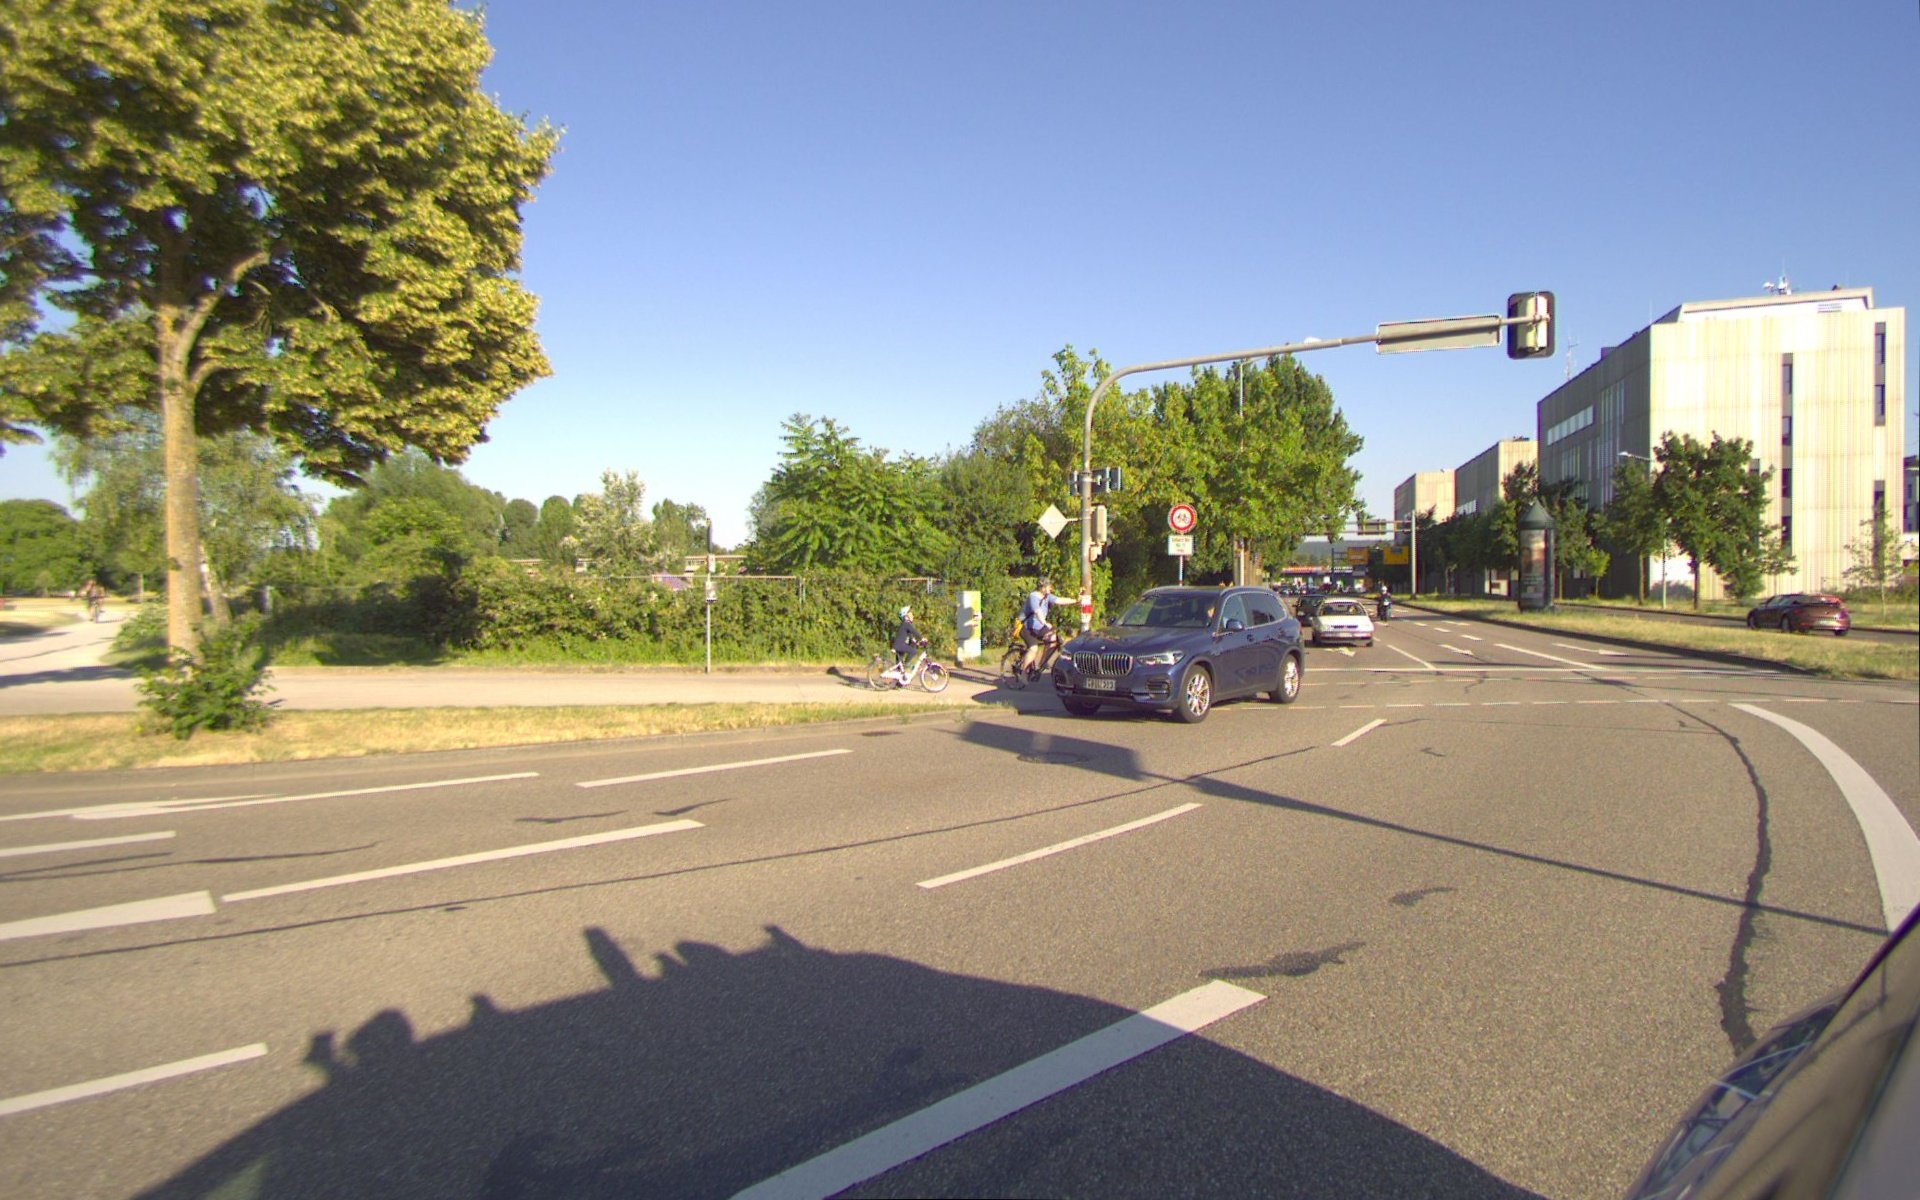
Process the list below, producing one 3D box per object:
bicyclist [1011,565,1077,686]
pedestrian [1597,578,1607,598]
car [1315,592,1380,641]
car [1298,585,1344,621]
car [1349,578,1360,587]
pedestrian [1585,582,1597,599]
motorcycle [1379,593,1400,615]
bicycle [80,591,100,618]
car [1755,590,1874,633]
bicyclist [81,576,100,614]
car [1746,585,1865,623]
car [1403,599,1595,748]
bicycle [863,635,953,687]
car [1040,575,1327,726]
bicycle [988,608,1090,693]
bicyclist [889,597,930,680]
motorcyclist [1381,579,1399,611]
[{"bbox_3d":[1.381,0.388,16.682,0.590,1.922,0.939,0,1,-35],"label":"bicyclist"},{"bbox_3d":[61.019,-1.128,96.205,0.626,1.864,0.712,0,0,19],"label":"pedestrian"},{"bbox_3d":[12.019,0.491,31.583,1.594,1.416,4.015,-1,-1,17],"label":"car"},{"bbox_3d":[16.683,0.123,46.927,1.703,1.518,4.191,-2,0,17],"label":"car"},{"bbox_3d":[77.012,-3.411,197.658,1.545,1.594,3.397,0,1,15],"label":"car"},{"bbox_3d":[60.433,-0.930,96.954,0.768,1.622,0.904,0,0,19],"label":"pedestrian"},{"bbox_3d":[21.087,0.185,49.709,0.739,0.995,2.129,0,1,16],"label":"motorcycle"},{"bbox_3d":[-34.200,0.174,39.812,0.500,1.033,2.041,-1,0,-39],"label":"bicycle"},{"bbox_3d":[30.333,0.362,36.083,1.649,1.393,4.128,1,1,16],"label":"car"},{"bbox_3d":[-34.234,-0.187,39.855,0.501,1.495,0.619,-1,0,-39],"label":"bicyclist"},{"bbox_3d":[34.884,0.142,41.875,1.639,1.460,3.619,1,1,-5],"label":"car"},{"bbox_3d":[7.034,0.831,13.599,1.586,1.630,3.977,0,1,18],"label":"car"},{"bbox_3d":[-0.831,0.992,16.474,1.436,0.796,0.440,1,0,1],"label":"bicycle"},{"bbox_3d":[3.347,0.562,14.462,1.953,1.748,4.629,-1,1,42],"label":"car"},{"bbox_3d":[1.277,0.797,16.839,0.597,1.259,1.911,0,2,-35],"label":"bicycle"},{"bbox_3d":[-0.816,0.618,16.477,0.638,1.311,0.466,1,0,1],"label":"bicyclist"},{"bbox_3d":[21.027,-0.263,49.516,0.725,1.530,0.914,0,0,17],"label":"motorcyclist"}]
